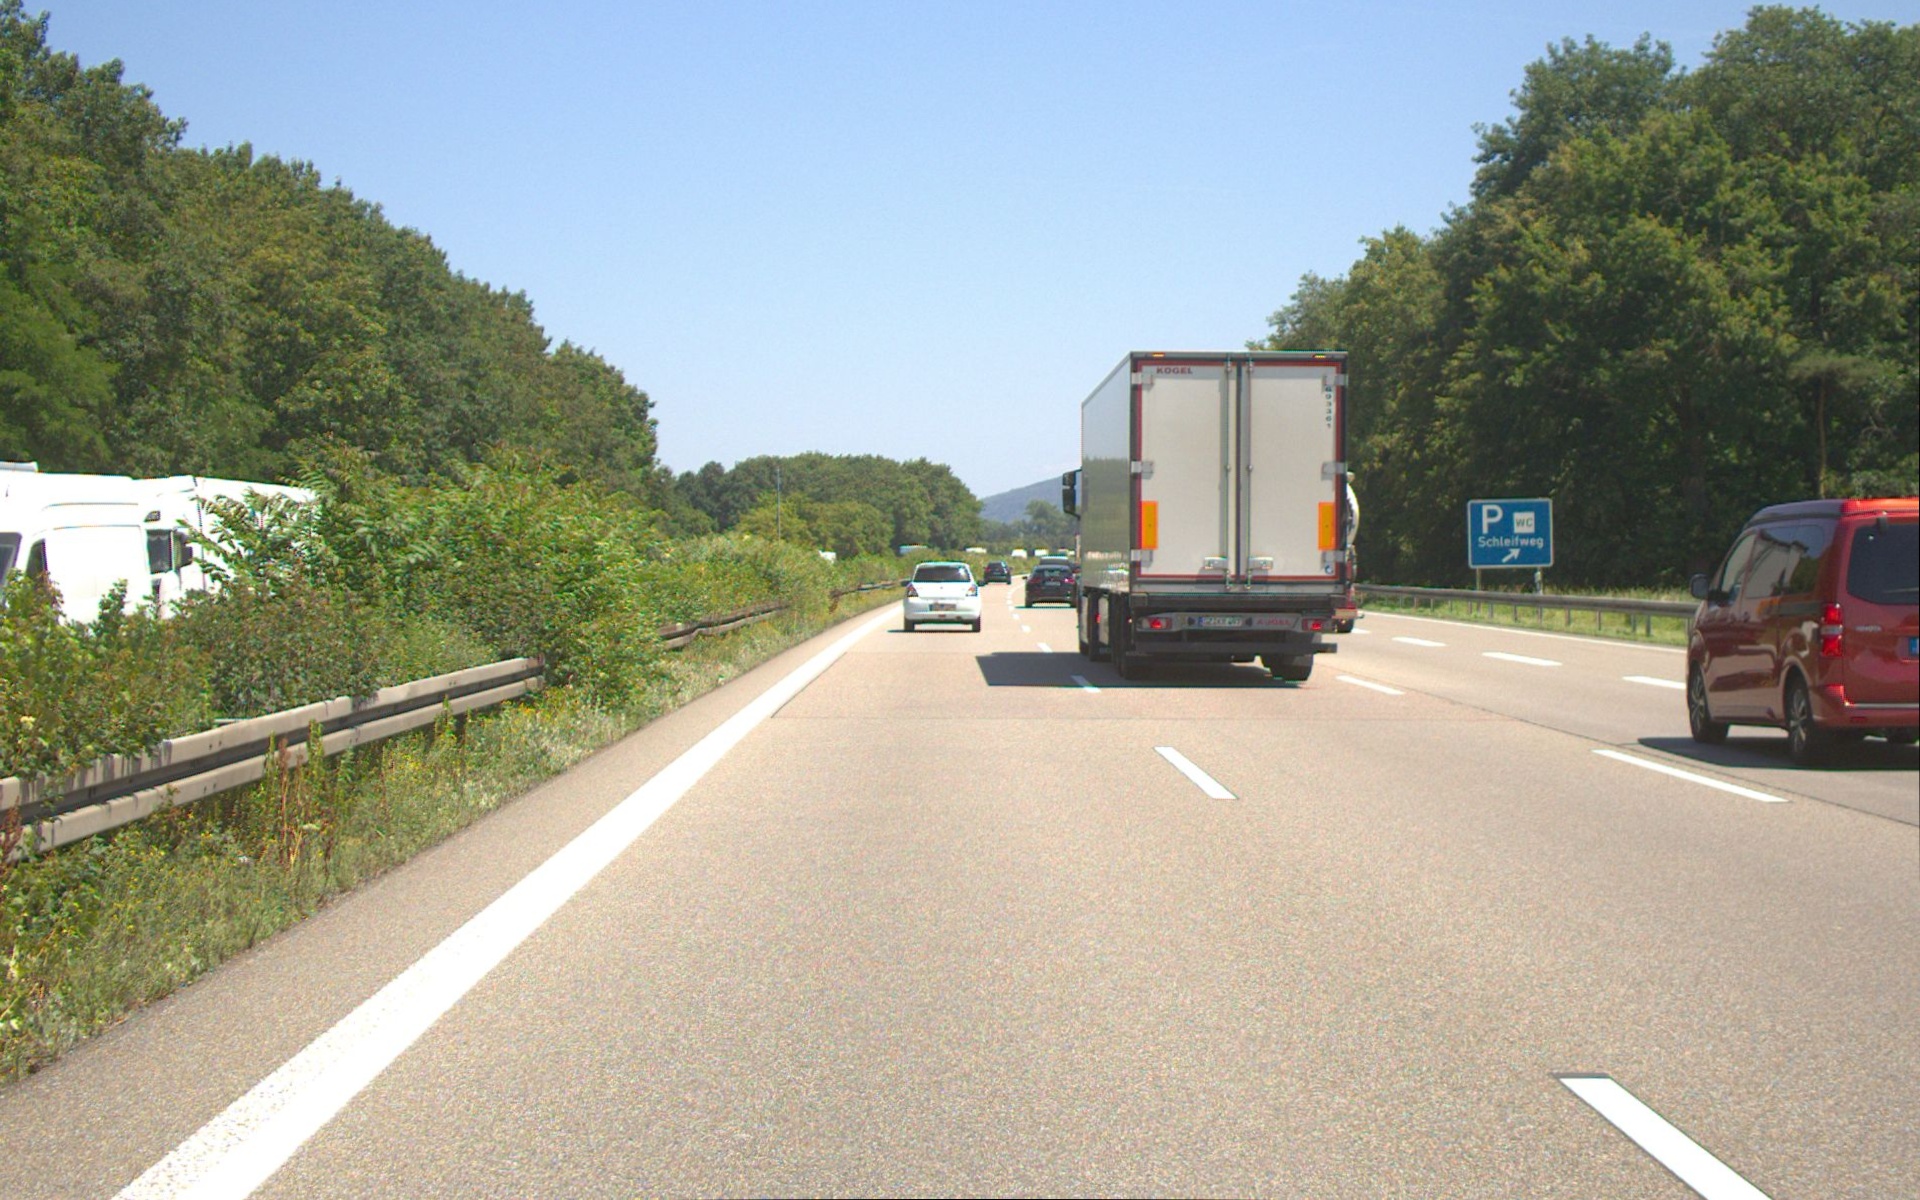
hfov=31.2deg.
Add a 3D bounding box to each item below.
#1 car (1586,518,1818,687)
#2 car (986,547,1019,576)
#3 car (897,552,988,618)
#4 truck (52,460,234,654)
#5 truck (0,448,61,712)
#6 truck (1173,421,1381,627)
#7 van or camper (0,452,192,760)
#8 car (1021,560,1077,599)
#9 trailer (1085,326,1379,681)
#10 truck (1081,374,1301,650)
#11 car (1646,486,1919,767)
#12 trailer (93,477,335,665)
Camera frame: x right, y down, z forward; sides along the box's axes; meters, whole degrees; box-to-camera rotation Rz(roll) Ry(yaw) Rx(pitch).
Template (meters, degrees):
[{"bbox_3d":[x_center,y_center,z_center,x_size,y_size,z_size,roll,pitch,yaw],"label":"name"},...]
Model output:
[{"bbox_3d":[9.183,0.004,42.854,1.993,2.007,4.000,0,1,-1],"label":"car"},{"bbox_3d":[2.956,-2.707,240.182,2.107,2.007,4.000,1,1,-1],"label":"car"},{"bbox_3d":[-0.404,-0.339,75.244,1.811,1.400,3.318,-1,1,-3],"label":"car"},{"bbox_3d":[-17.824,-0.936,75.206,2.834,4.020,4.185,-2,1,0],"label":"truck"},{"bbox_3d":[-13.376,-0.206,43.076,2.410,3.342,7.001,-3,1,-2],"label":"truck"},{"bbox_3d":[7.056,-1.689,78.207,3.223,4.330,10.808,-1,1,-3],"label":"truck"},{"bbox_3d":[-9.562,0.006,35.173,1.993,2.836,7.001,0,1,-2],"label":"van or camper"},{"bbox_3d":[3.051,-0.715,117.012,1.668,1.285,3.999,0,1,5],"label":"car"},{"bbox_3d":[3.408,-1.224,46.370,3.223,4.129,12.351,0,1,1],"label":"trailer"},{"bbox_3d":[3.573,-1.366,54.291,3.229,4.143,4.559,0,1,1],"label":"truck"},{"bbox_3d":[7.011,0.160,27.285,1.855,1.996,5.522,1,1,-2],"label":"car"},{"bbox_3d":[-17.594,-0.722,82.128,2.834,4.020,12.914,-2,1,0],"label":"trailer"}]
